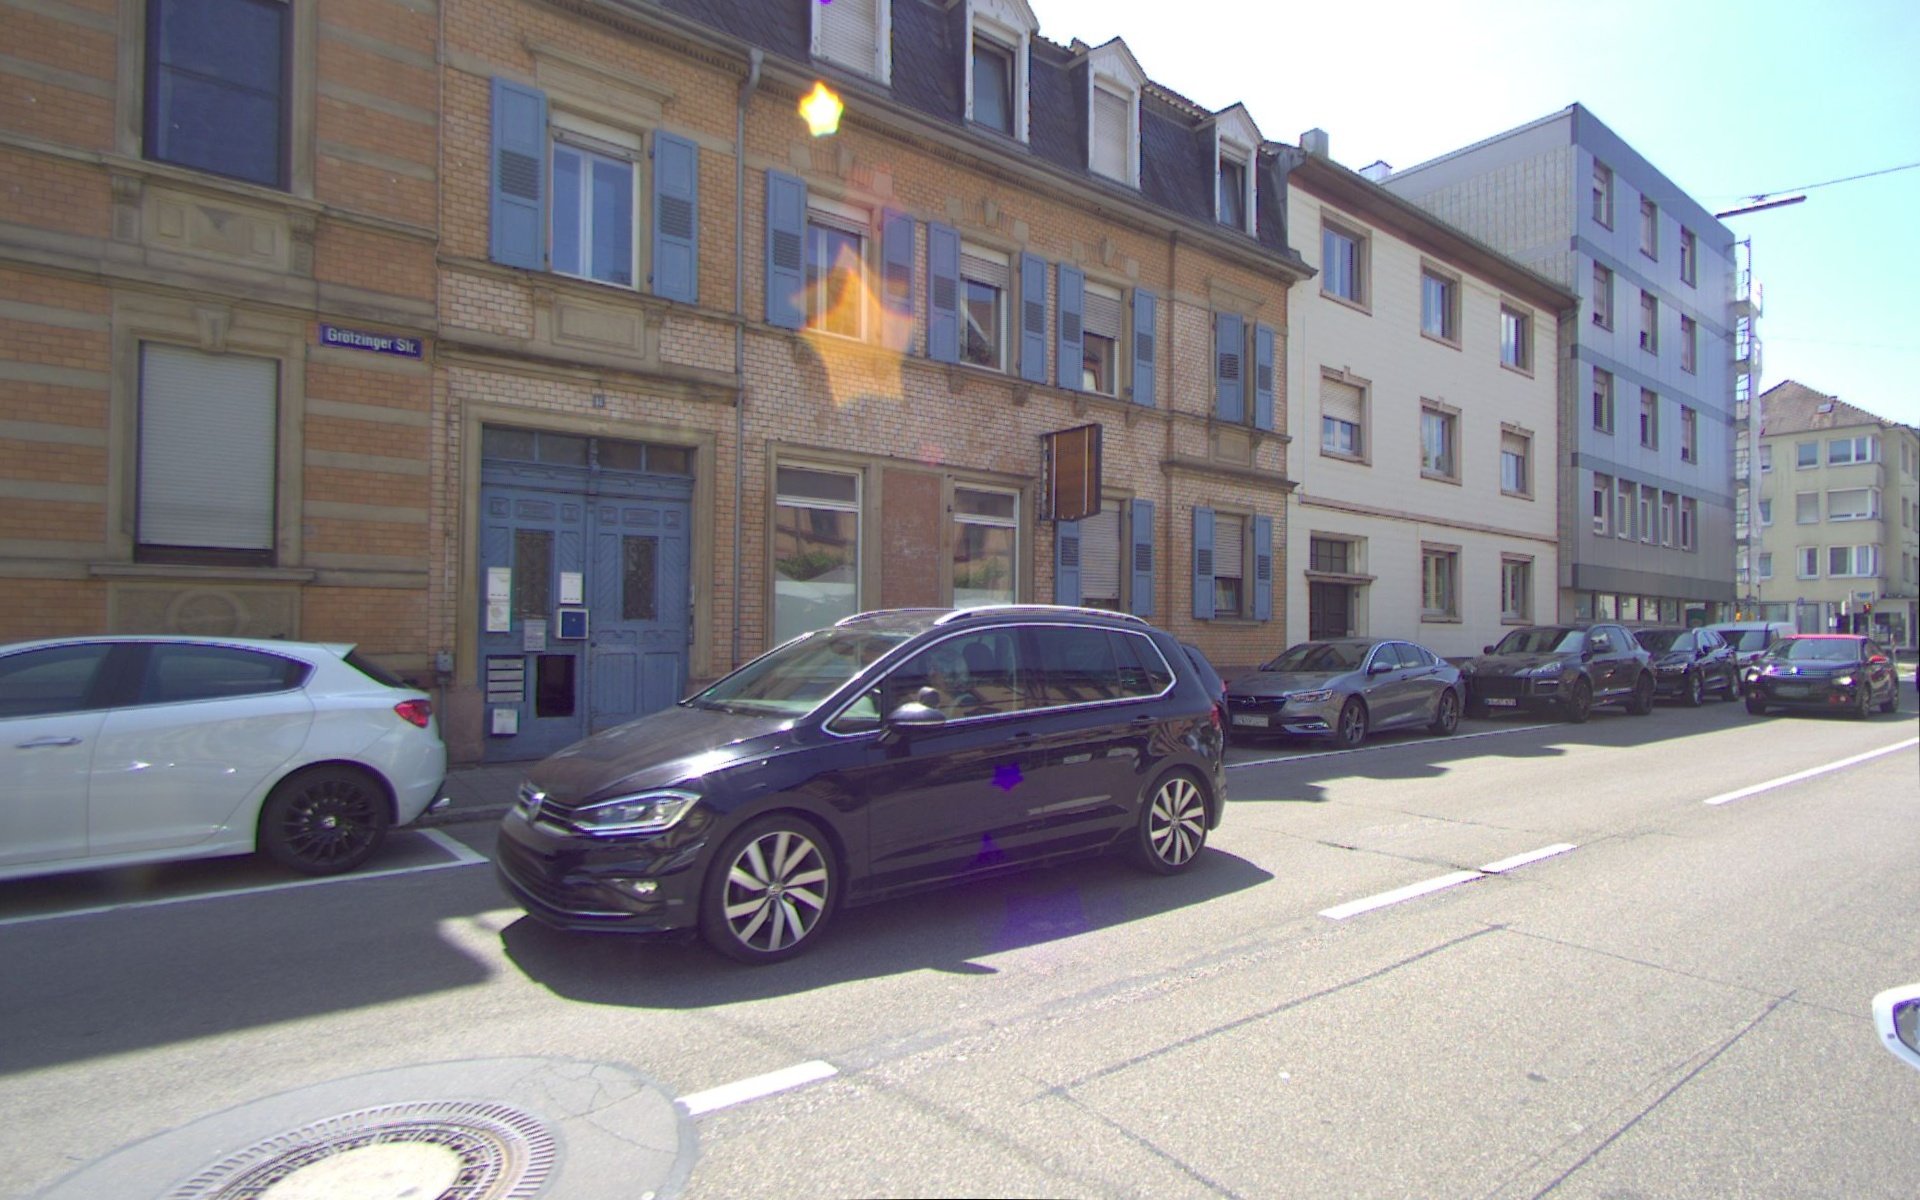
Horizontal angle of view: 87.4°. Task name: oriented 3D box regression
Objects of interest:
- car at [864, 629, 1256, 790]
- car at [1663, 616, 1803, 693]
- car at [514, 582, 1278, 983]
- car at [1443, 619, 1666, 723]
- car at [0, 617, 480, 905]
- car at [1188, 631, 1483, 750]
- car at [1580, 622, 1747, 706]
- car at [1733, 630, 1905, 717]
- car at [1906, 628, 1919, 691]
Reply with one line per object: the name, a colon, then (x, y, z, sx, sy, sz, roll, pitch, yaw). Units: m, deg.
car: (1.232, 1.120, 11.046, 4.298, 1.424, 1.849, 3, -6, -41)
car: (20.306, 1.421, 26.310, 4.749, 1.849, 1.898, 2, -3, -40)
car: (-0.118, 0.771, 5.828, 4.210, 1.514, 1.746, 2, -3, -39)
car: (10.963, 1.255, 18.388, 4.774, 1.662, 1.871, 2, -3, -38)
car: (-5.335, 0.880, 5.849, 4.293, 1.444, 1.851, 2, -6, -38)
car: (5.490, 1.245, 14.376, 4.800, 1.424, 1.850, 3, -6, -41)
car: (15.662, 1.391, 22.284, 4.624, 1.662, 1.870, 3, -3, -40)
car: (16.405, 1.342, 19.129, 4.096, 1.497, 1.689, 2, -3, -38)
car: (26.455, 1.564, 26.382, 4.273, 1.595, 1.689, 2, -3, -38)
